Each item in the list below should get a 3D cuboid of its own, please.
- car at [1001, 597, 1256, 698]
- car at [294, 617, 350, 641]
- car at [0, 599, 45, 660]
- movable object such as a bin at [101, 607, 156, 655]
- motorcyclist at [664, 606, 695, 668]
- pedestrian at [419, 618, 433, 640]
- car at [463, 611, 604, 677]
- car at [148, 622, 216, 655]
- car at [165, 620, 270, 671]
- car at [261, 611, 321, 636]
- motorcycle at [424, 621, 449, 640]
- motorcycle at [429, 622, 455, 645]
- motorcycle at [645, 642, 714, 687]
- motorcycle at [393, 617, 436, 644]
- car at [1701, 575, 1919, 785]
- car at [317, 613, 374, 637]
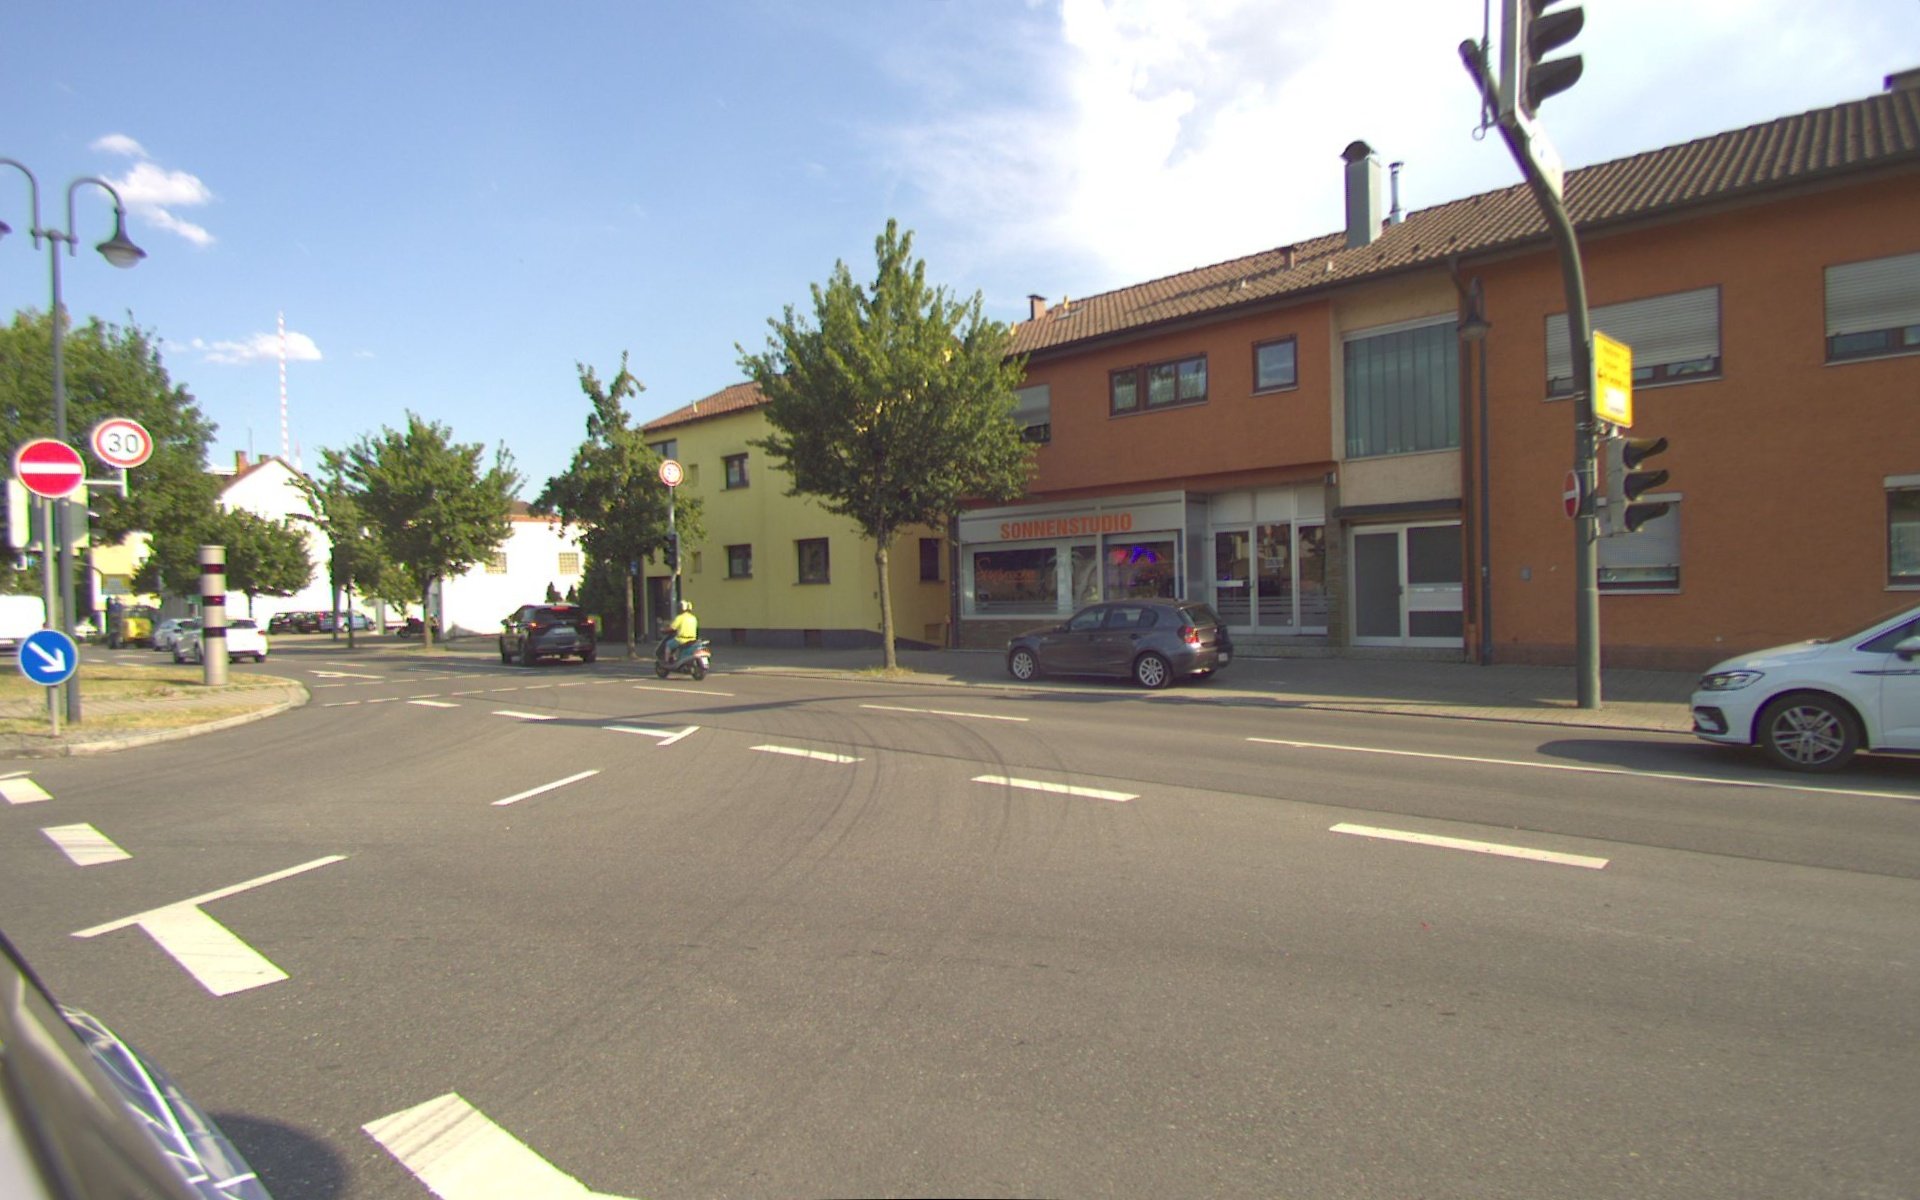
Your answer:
[{"bbox_3d":[2.802,0.753,17.342,3.941,1.424,1.777,-1,3,43],"label":"car"},{"bbox_3d":[-43.162,1.958,68.564,1.566,1.576,3.429,-1,-1,2],"label":"car"},{"bbox_3d":[-41.020,1.272,43.211,5.472,2.494,2.064,-2,-1,39],"label":"car"},{"bbox_3d":[-44.521,1.637,54.147,4.977,2.480,1.536,-2,-2,43],"label":"movable object such as a bin"},{"bbox_3d":[-5.656,0.738,20.384,0.461,1.238,0.399,-2,-1,40],"label":"motorcyclist"},{"bbox_3d":[-33.896,1.828,64.238,0.583,1.350,0.589,-2,-1,33],"label":"pedestrian"},{"bbox_3d":[-11.499,1.145,27.136,4.460,1.607,1.834,-2,-1,43],"label":"car"},{"bbox_3d":[-35.780,1.750,46.524,4.211,1.425,1.674,-2,-1,41],"label":"car"},{"bbox_3d":[-22.739,1.371,30.963,3.997,1.422,1.739,-2,-1,41],"label":"car"},{"bbox_3d":[-45.505,1.602,68.901,1.836,1.638,3.410,0,-2,-1],"label":"car"},{"bbox_3d":[-33.423,1.975,64.565,2.114,1.155,0.483,-3,-1,35],"label":"motorcycle"},{"bbox_3d":[-25.394,1.643,49.673,0.542,1.107,2.052,-2,-1,-10],"label":"motorcycle"},{"bbox_3d":[-5.669,1.281,20.392,1.761,0.867,0.408,-2,-1,40],"label":"motorcycle"},{"bbox_3d":[-28.426,1.600,52.740,2.096,1.332,0.487,-2,-1,10],"label":"motorcycle"},{"bbox_3d":[8.590,0.604,7.887,4.411,1.624,1.668,-1,-1,41],"label":"car"},{"bbox_3d":[-40.615,1.659,66.971,1.599,1.555,3.429,-1,-1,2],"label":"car"}]
